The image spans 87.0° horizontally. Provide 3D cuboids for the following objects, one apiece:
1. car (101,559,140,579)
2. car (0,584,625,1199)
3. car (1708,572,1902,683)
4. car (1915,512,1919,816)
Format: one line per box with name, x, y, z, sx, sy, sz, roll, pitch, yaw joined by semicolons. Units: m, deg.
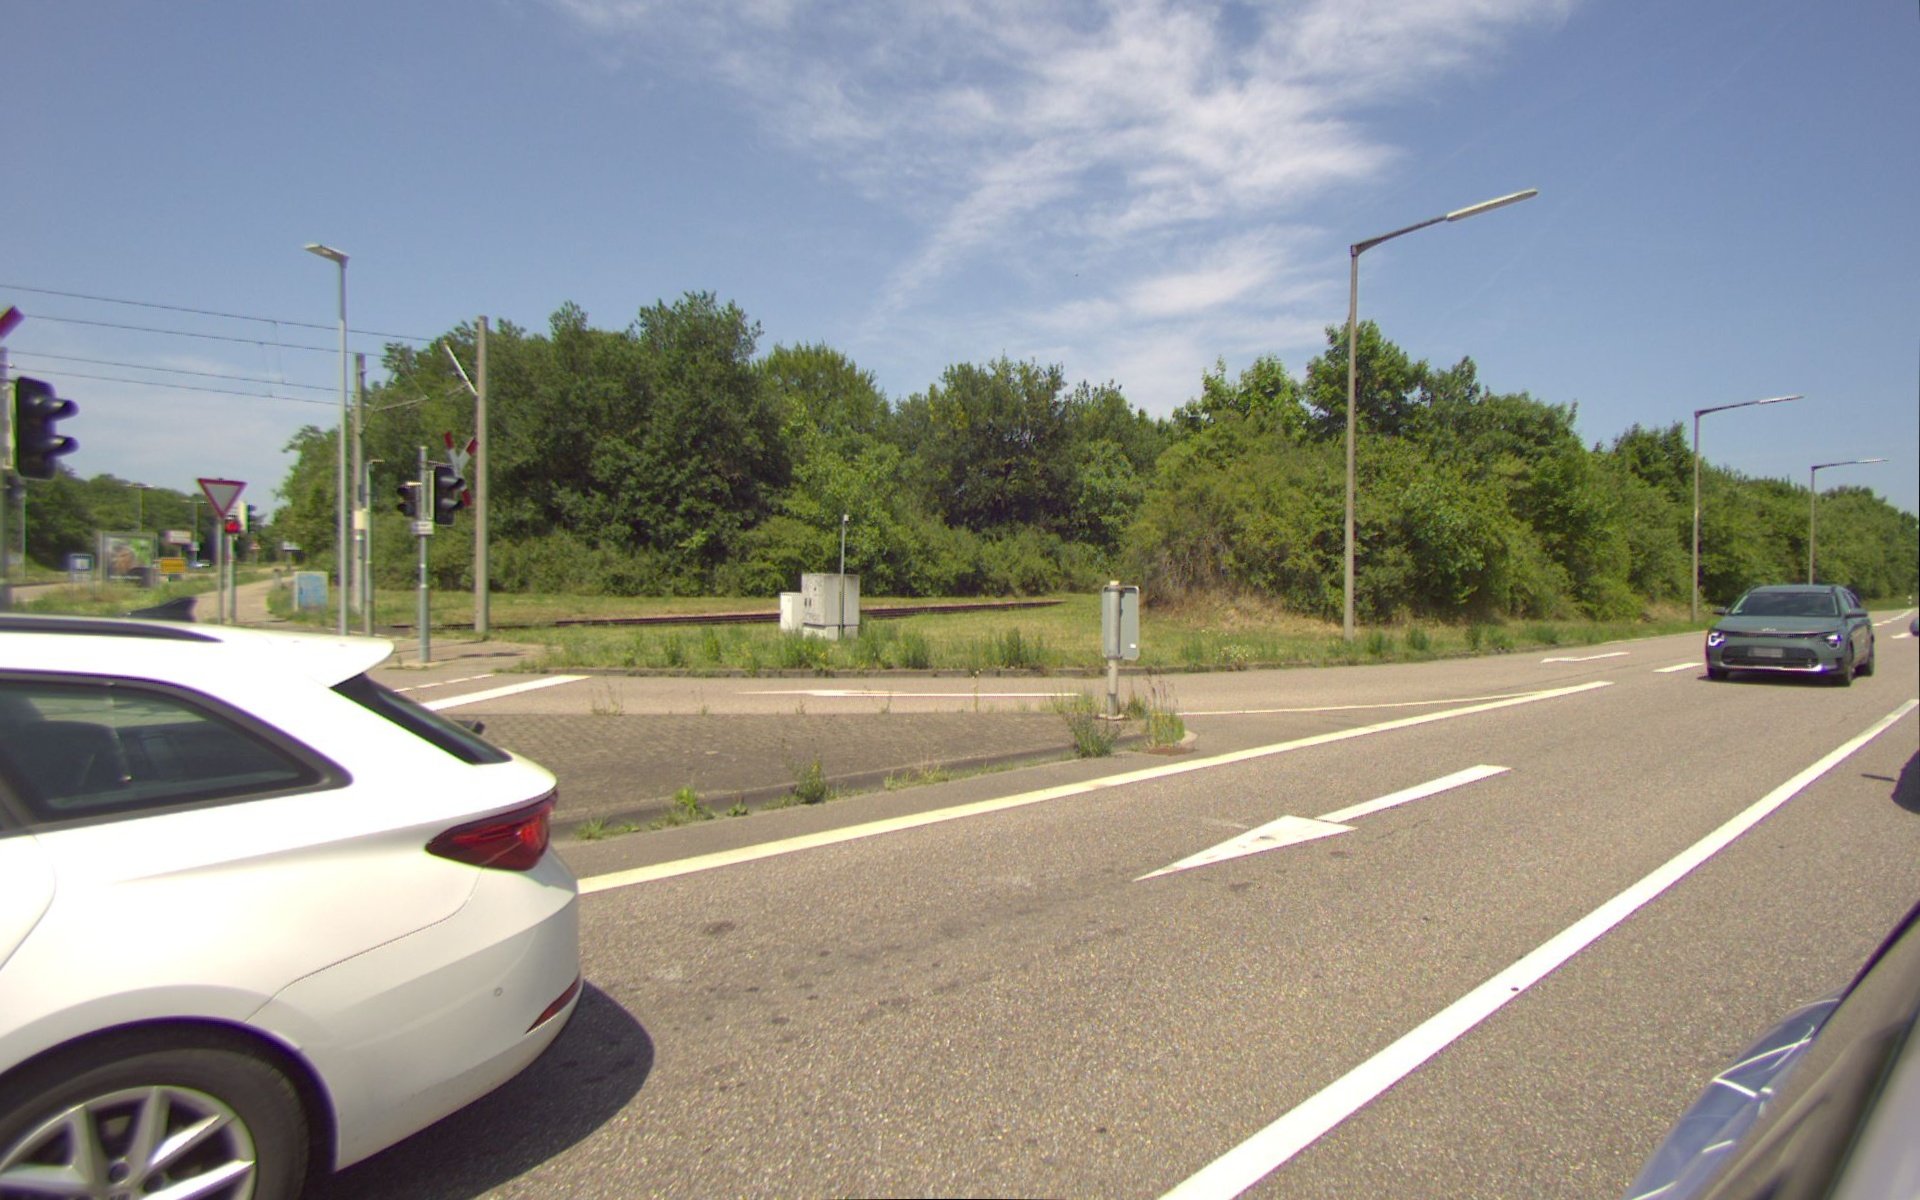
car;-78.407;-2.892;94.582;1.959;1.812;4.007;0;1;-27
car;-2.999;0.687;1.652;4.375;1.407;1.684;-1;2;-43
car;14.067;0.375;16.775;3.928;1.616;1.723;0;2;-39
car;8.526;0.342;7.219;5.631;1.900;1.875;-1;1;-40
